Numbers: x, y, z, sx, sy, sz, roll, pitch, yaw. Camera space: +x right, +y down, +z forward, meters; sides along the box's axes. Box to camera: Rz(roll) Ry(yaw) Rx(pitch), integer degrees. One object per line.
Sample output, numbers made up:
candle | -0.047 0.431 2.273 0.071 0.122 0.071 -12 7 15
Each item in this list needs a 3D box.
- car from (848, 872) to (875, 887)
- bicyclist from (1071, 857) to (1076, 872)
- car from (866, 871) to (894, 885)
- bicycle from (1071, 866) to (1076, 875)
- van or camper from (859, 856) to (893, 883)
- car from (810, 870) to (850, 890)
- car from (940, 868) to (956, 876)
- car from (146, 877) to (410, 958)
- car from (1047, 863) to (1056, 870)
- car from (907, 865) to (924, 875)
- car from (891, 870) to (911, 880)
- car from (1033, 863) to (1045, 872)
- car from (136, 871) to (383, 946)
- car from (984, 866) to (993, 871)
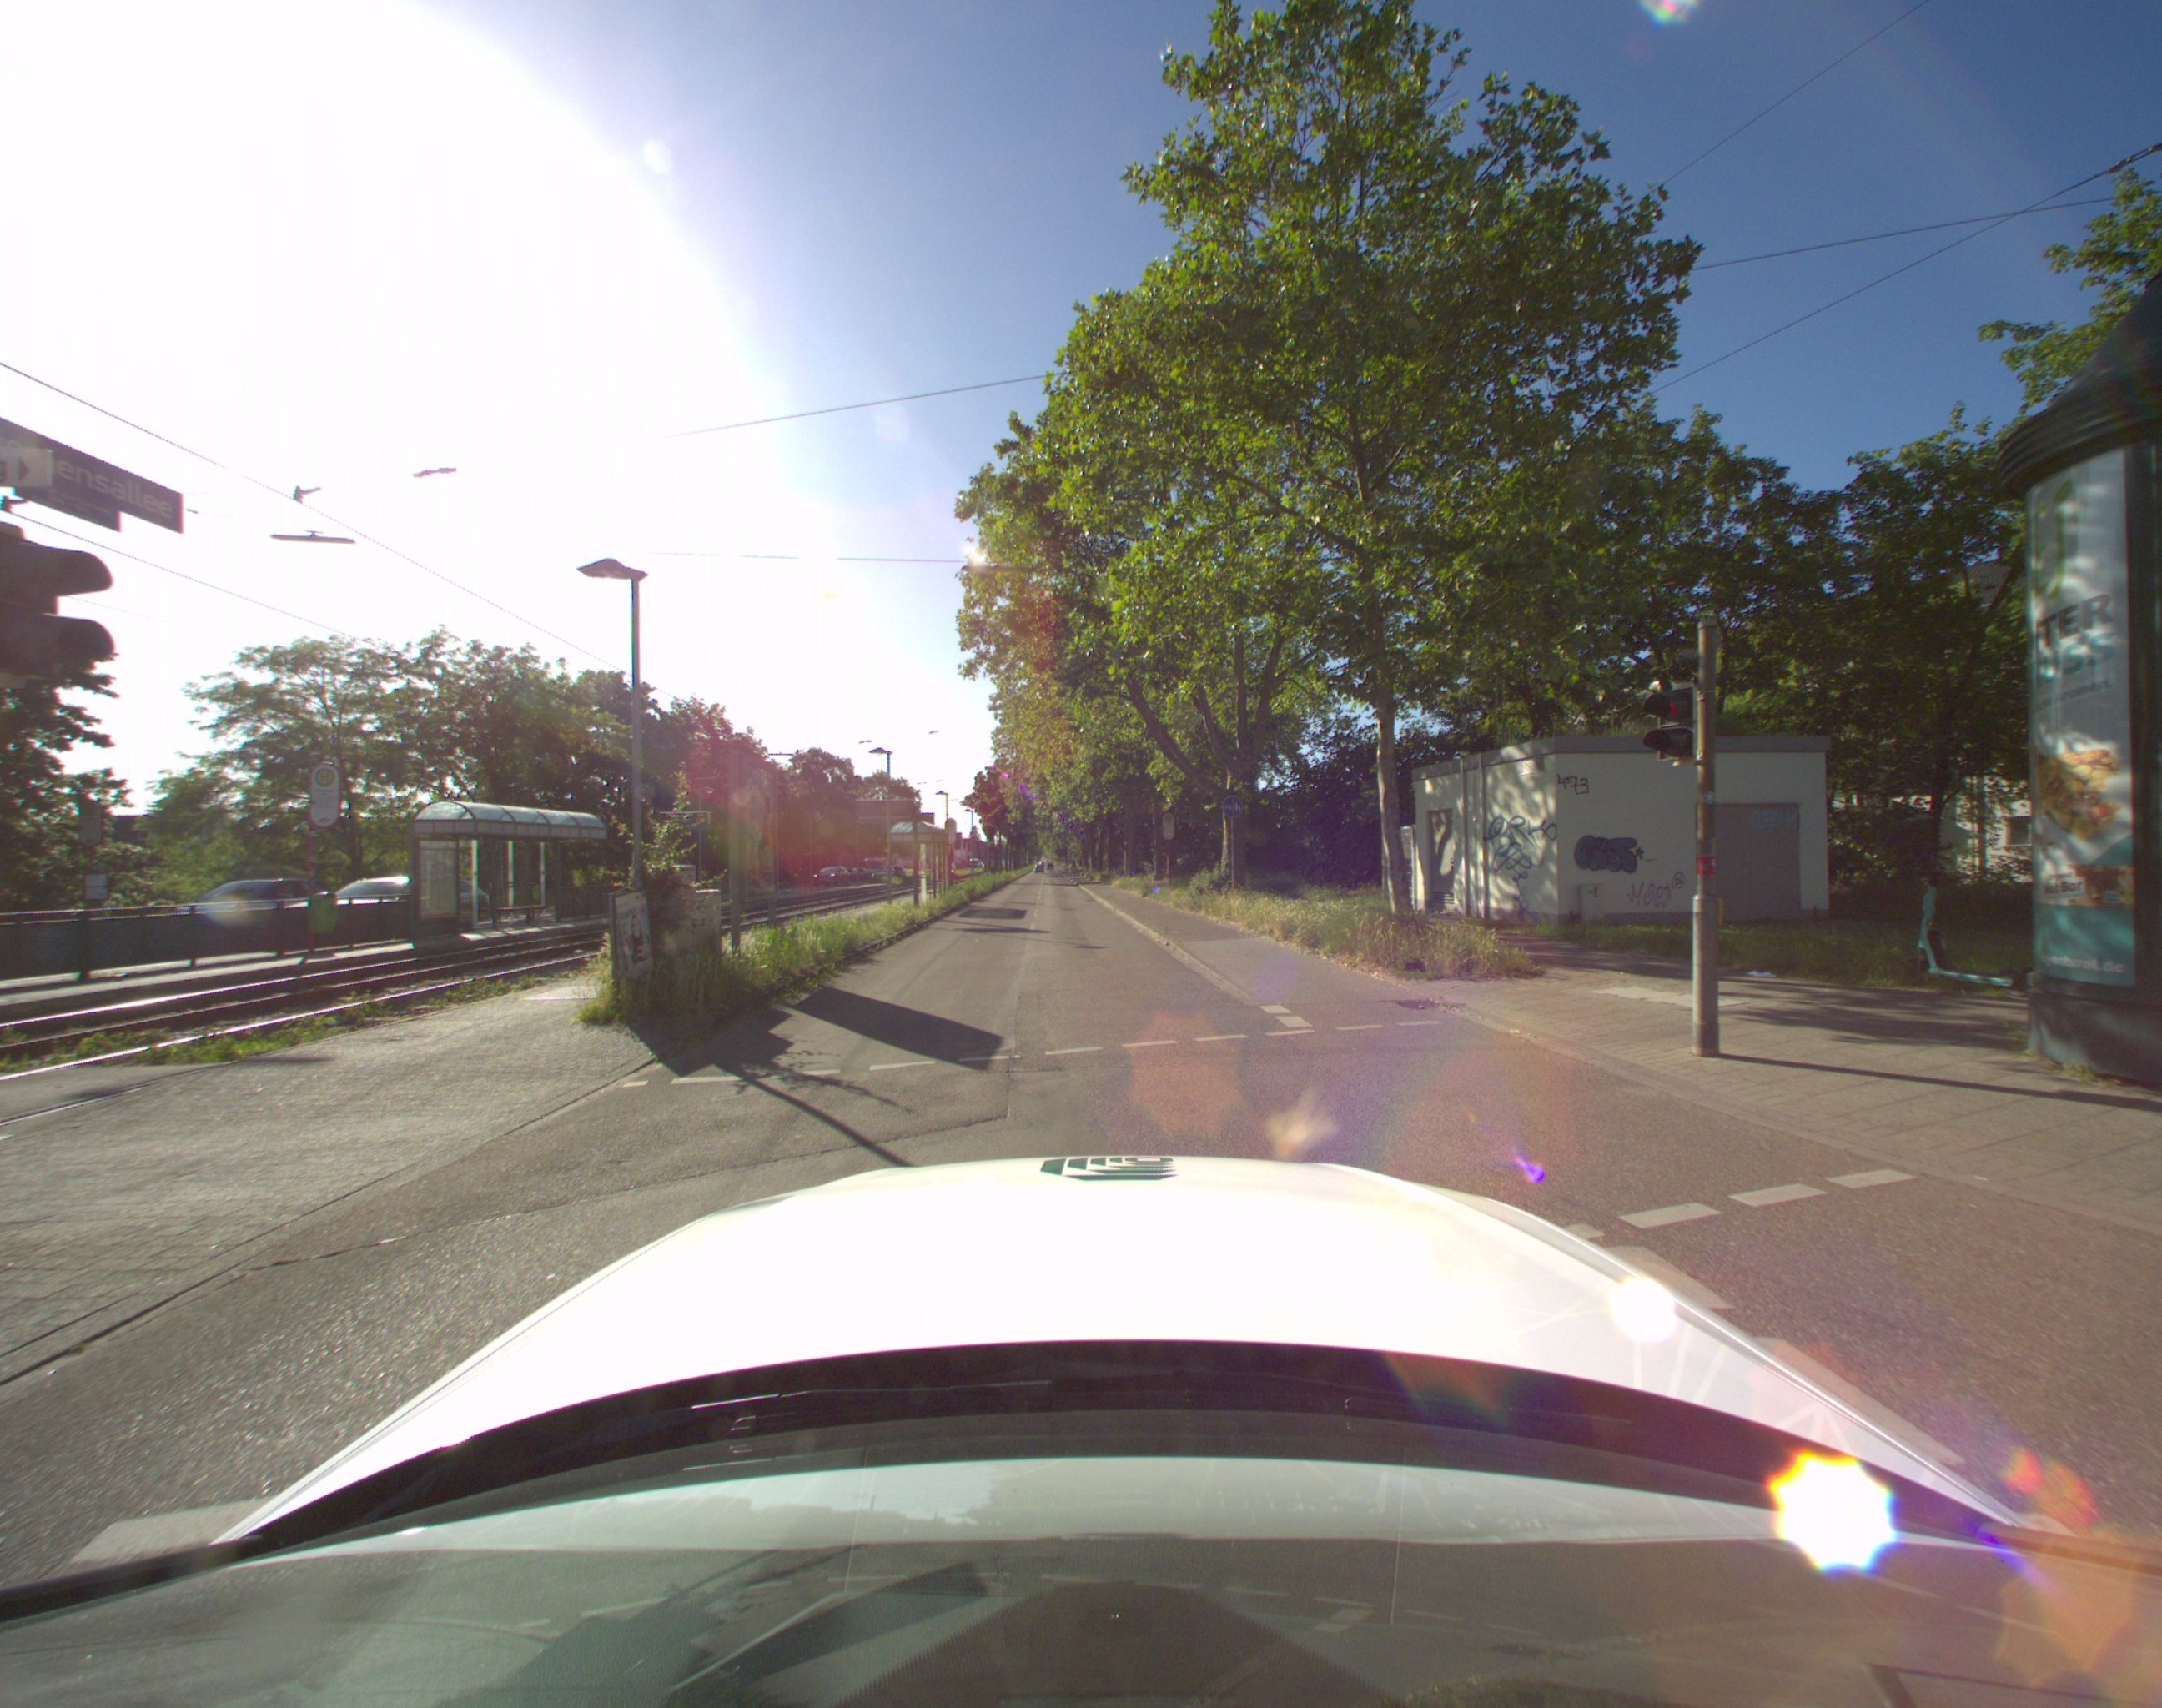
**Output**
car | -24.247 2.767 89.996 1.915 1.562 3.999 -1 -1 0
bicyclist | -0.896 1.275 95.638 0.533 1.770 0.712 -1 -1 -4
car | -21.059 2.496 85.604 1.988 1.469 4.373 0 -1 -2
bicycle | -0.878 1.903 95.531 0.535 1.066 1.431 -1 -1 -4
van or camper | -24.383 1.847 97.047 2.583 3.106 6.781 -1 -1 -2
car | -19.870 2.042 64.657 1.989 1.469 4.370 0 -1 -4
car | -21.287 2.848 130.746 1.915 1.266 3.998 -1 -1 -1
car | -16.928 1.261 17.504 1.801 1.467 3.995 0 -1 -3
car | -6.264 2.678 173.636 1.746 1.604 3.746 0 -1 -2
car | -26.342 2.591 129.465 1.915 1.577 3.998 -1 -1 -1
car | -24.566 2.861 111.216 1.916 1.266 3.996 -1 -1 -2
car | -6.832 2.257 133.611 1.863 1.486 3.552 0 -1 -2
car | -19.578 1.230 19.716 1.915 1.567 3.998 -1 -1 -1
car | -24.493 3.799 215.714 1.916 1.266 3.995 -1 -1 -3
